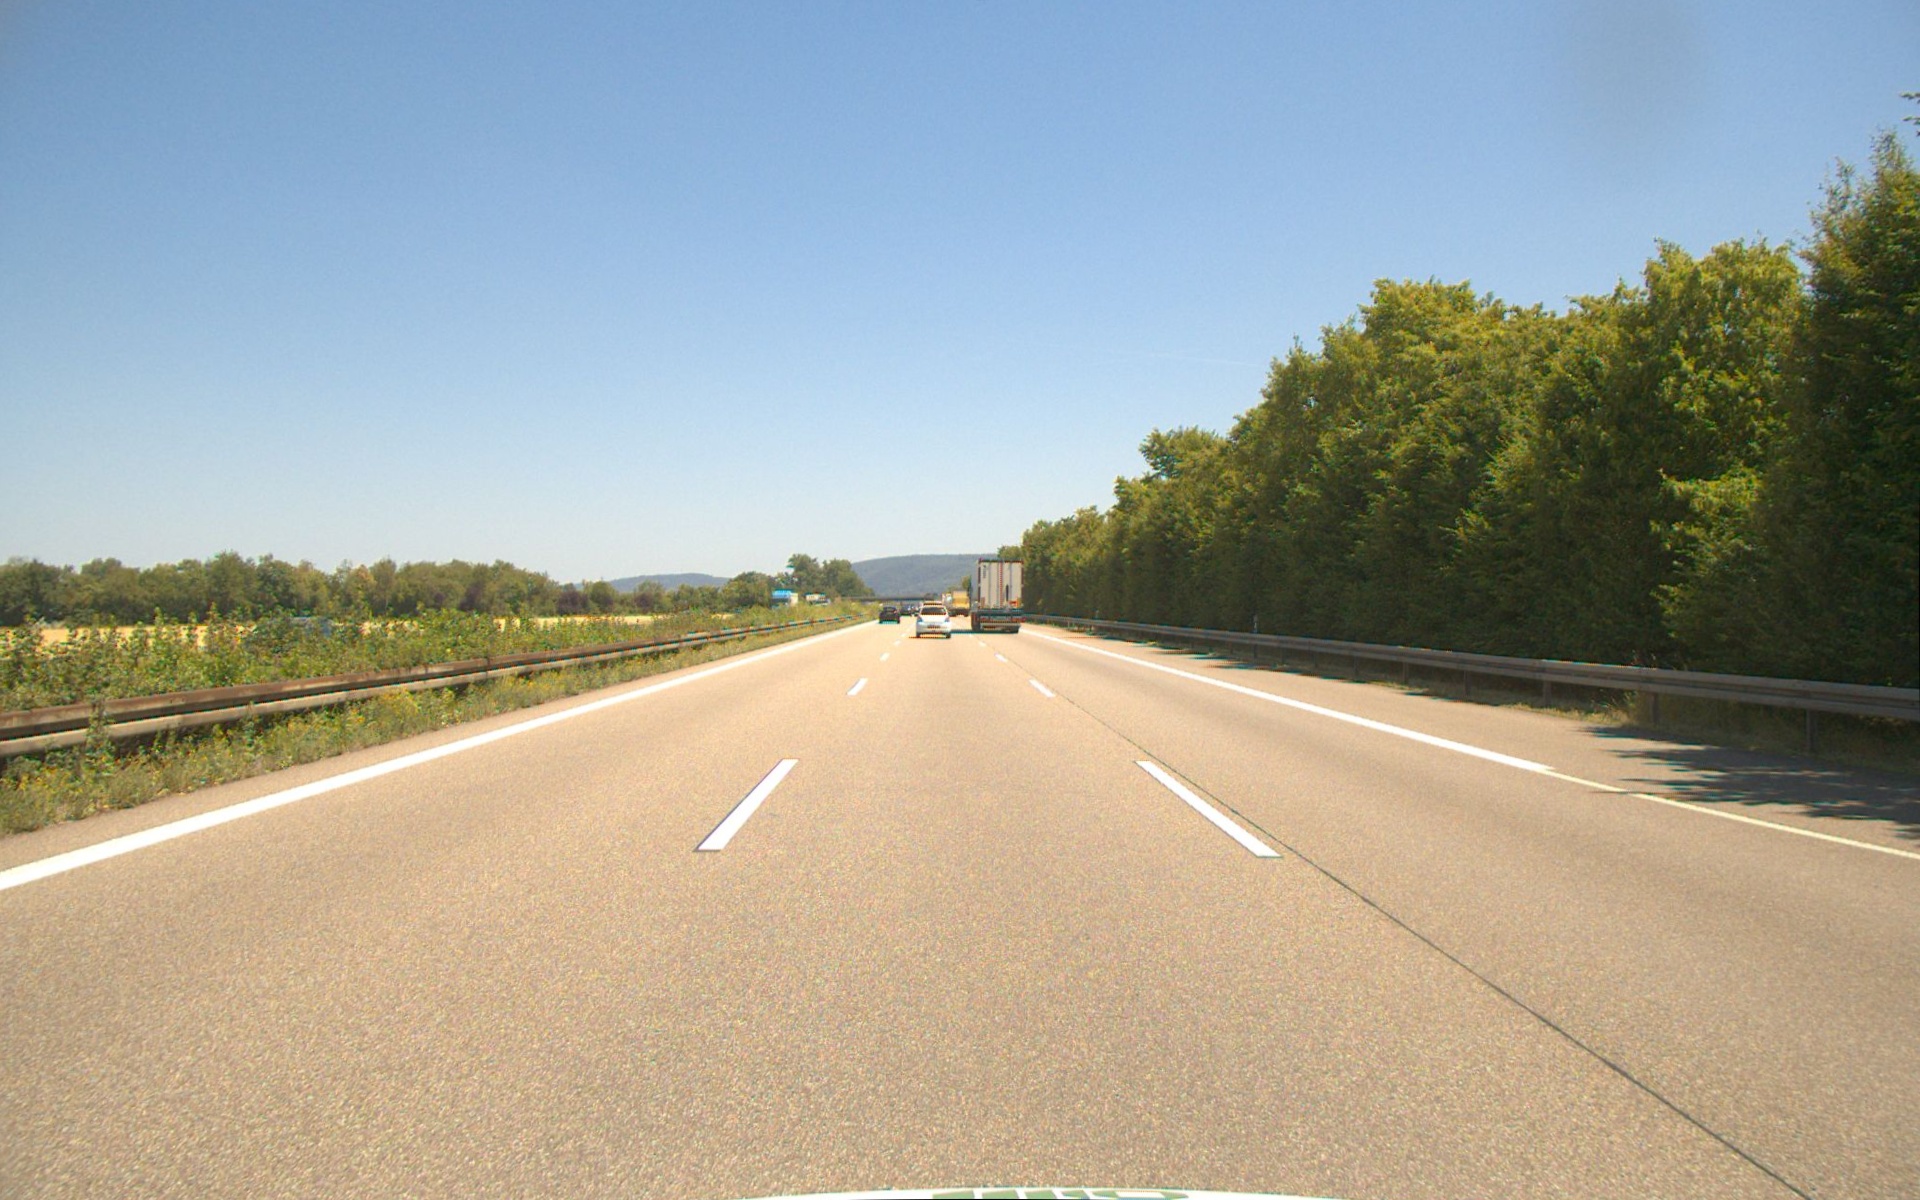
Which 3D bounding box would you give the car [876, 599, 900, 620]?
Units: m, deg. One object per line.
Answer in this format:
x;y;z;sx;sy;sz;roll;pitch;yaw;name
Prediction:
-6.106;0.804;141.093;1.953;1.742;3.998;1;0;-2;car

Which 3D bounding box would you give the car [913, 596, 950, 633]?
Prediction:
-1.380;0.666;78.652;1.697;1.713;3.998;-1;0;-2;car

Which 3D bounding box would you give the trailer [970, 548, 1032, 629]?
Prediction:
2.327;-0.615;98.710;3.152;4.421;13.627;1;0;-1;trailer

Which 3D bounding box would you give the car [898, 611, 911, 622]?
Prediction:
-7.917;2.404;237.304;1.759;1.578;3.999;0;-1;-1;car

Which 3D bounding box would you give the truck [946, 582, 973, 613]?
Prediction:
-0.145;-0.334;247.237;3.793;4.421;13.856;1;0;-1;truck

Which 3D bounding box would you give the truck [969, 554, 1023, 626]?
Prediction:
2.261;-0.598;106.495;3.152;4.421;6.589;1;0;-1;truck
